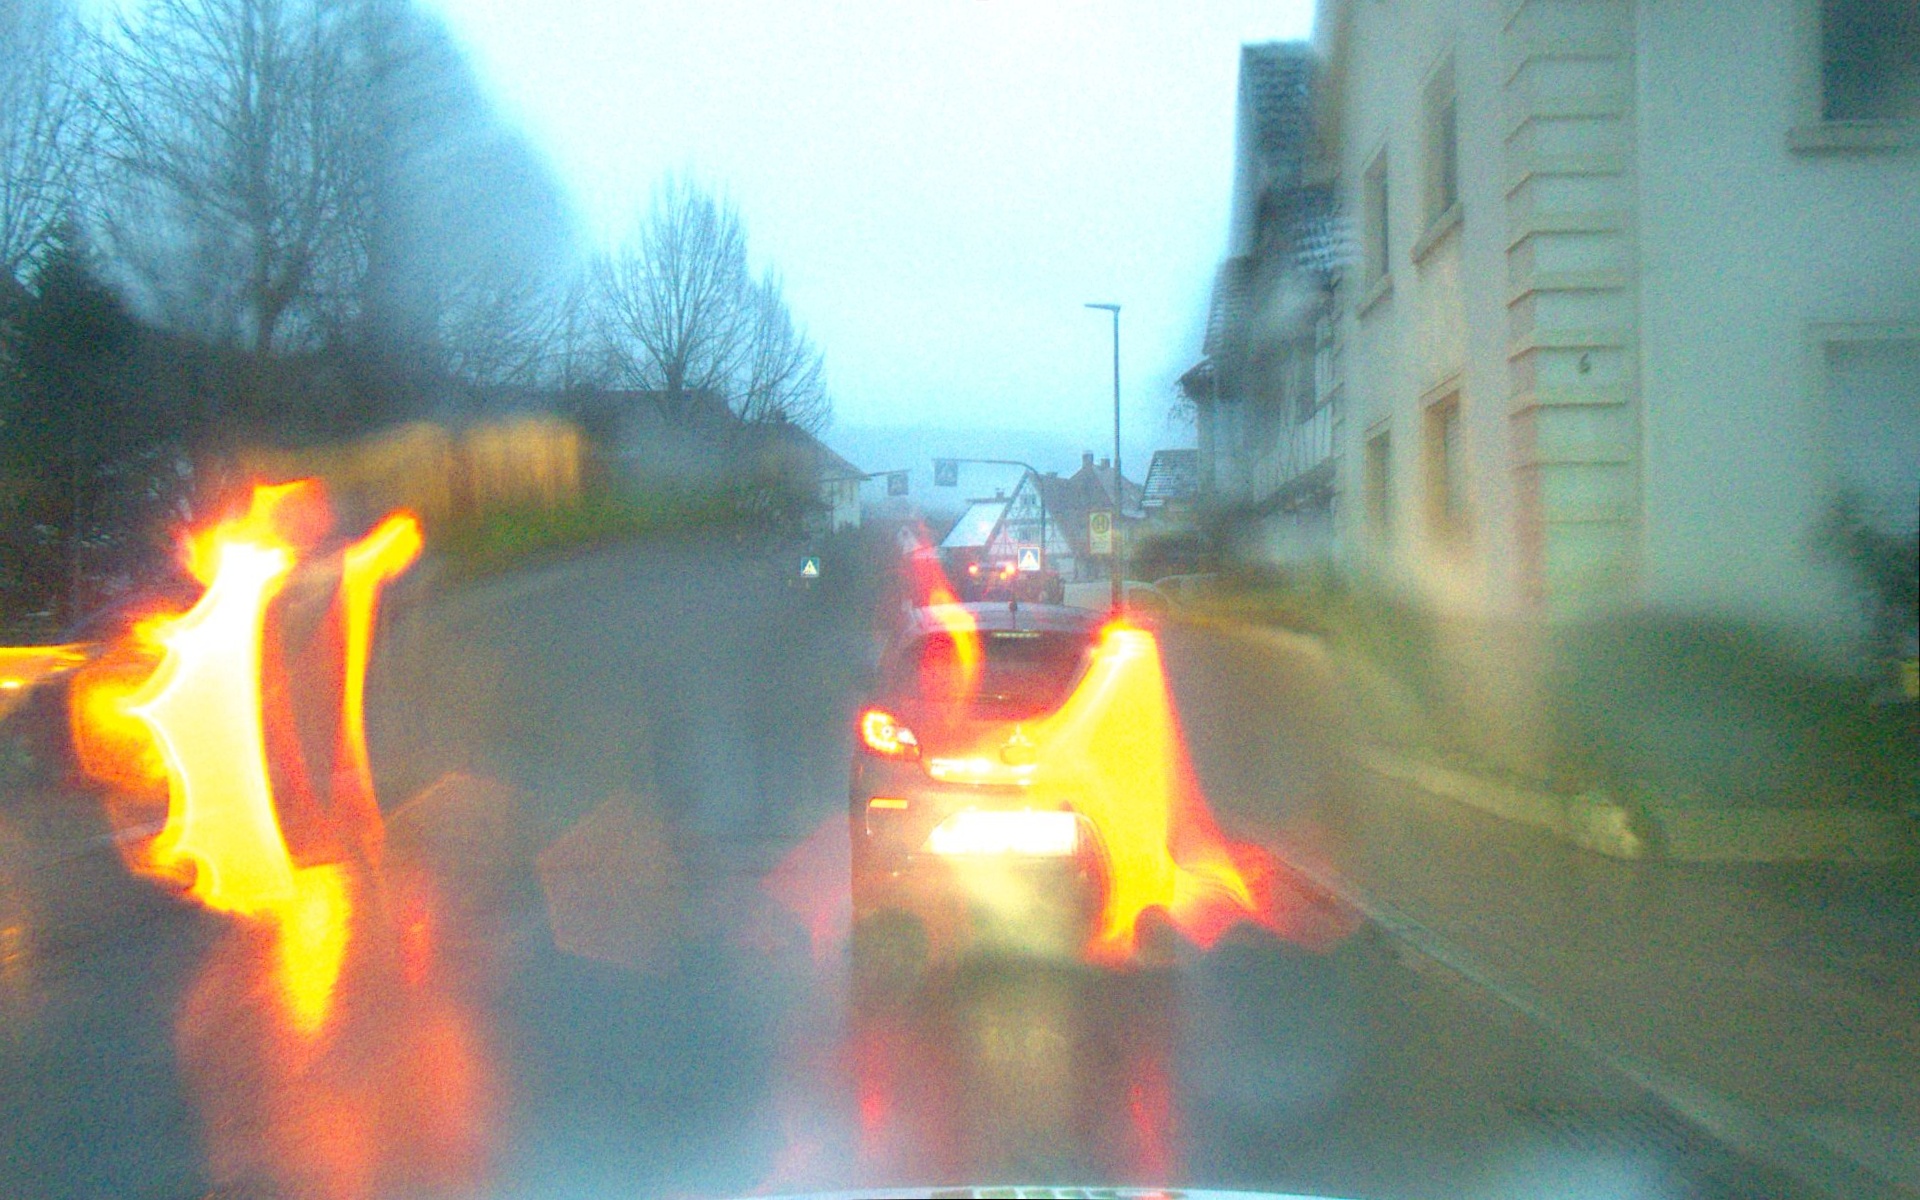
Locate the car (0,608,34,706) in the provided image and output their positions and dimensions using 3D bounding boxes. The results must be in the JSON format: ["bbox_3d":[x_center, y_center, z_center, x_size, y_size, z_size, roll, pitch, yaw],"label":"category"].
[{"bbox_3d":[-19.238,1.029,30.310,3.904,1.760,1.820,0,0,19],"label":"car"}]

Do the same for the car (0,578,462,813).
[{"bbox_3d":[-5.522,0.619,12.188,3.193,1.507,1.643,1,0,21],"label":"car"}]

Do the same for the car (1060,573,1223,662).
[{"bbox_3d":[4.620,0.428,42.196,4.010,2.201,1.915,0,0,6],"label":"car"}]

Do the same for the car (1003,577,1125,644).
[{"bbox_3d":[3.522,0.350,55.610,4.010,2.189,1.915,0,0,6],"label":"car"}]

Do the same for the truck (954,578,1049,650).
[{"bbox_3d":[2.079,0.652,78.272,2.951,3.183,8.006,1,0,13],"label":"truck"}]

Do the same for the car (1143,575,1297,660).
[{"bbox_3d":[6.966,0.454,44.620,4.010,2.189,1.915,0,0,6],"label":"car"}]

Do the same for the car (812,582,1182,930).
[{"bbox_3d":[0.147,0.698,8.976,1.604,1.507,3.378,1,0,-1],"label":"car"}]
